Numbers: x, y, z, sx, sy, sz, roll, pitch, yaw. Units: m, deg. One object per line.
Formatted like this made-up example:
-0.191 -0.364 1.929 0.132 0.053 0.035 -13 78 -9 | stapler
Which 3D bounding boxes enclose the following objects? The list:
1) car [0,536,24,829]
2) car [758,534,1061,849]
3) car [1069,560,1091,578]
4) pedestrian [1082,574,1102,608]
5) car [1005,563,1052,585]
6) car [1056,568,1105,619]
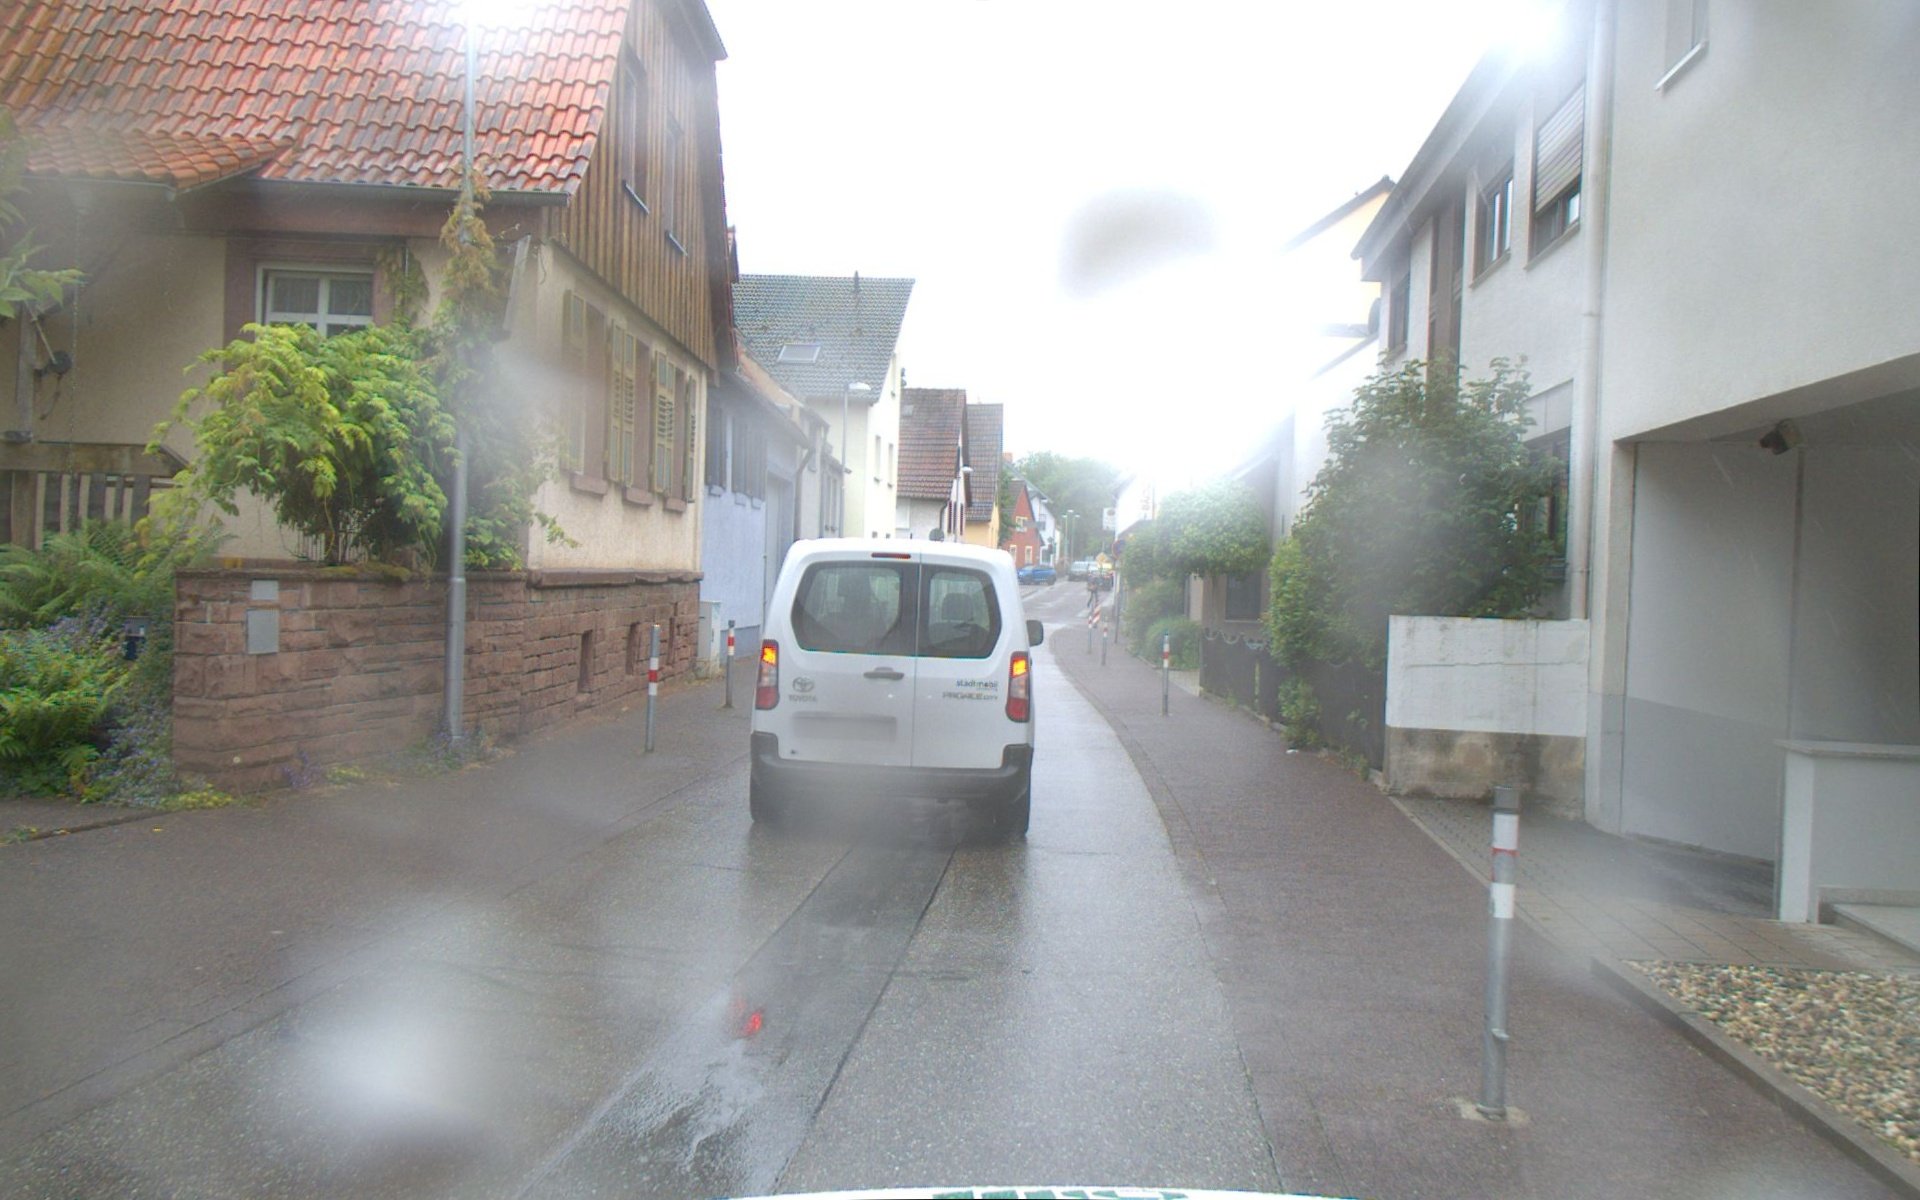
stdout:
-6.777 0.354 7.772 3.902 1.450 1.737 2 0 10 | car
-0.313 0.525 11.637 1.738 1.811 3.999 1 0 -1 | car
10.898 -2.837 149.603 1.555 1.466 3.769 3 0 9 | car
7.386 -0.502 92.528 1.029 1.926 0.877 1 0 2 | pedestrian
5.269 -2.002 127.305 1.962 1.586 3.416 0 3 39 | car
5.093 -0.273 69.576 1.951 2.049 4.003 1 0 5 | car
